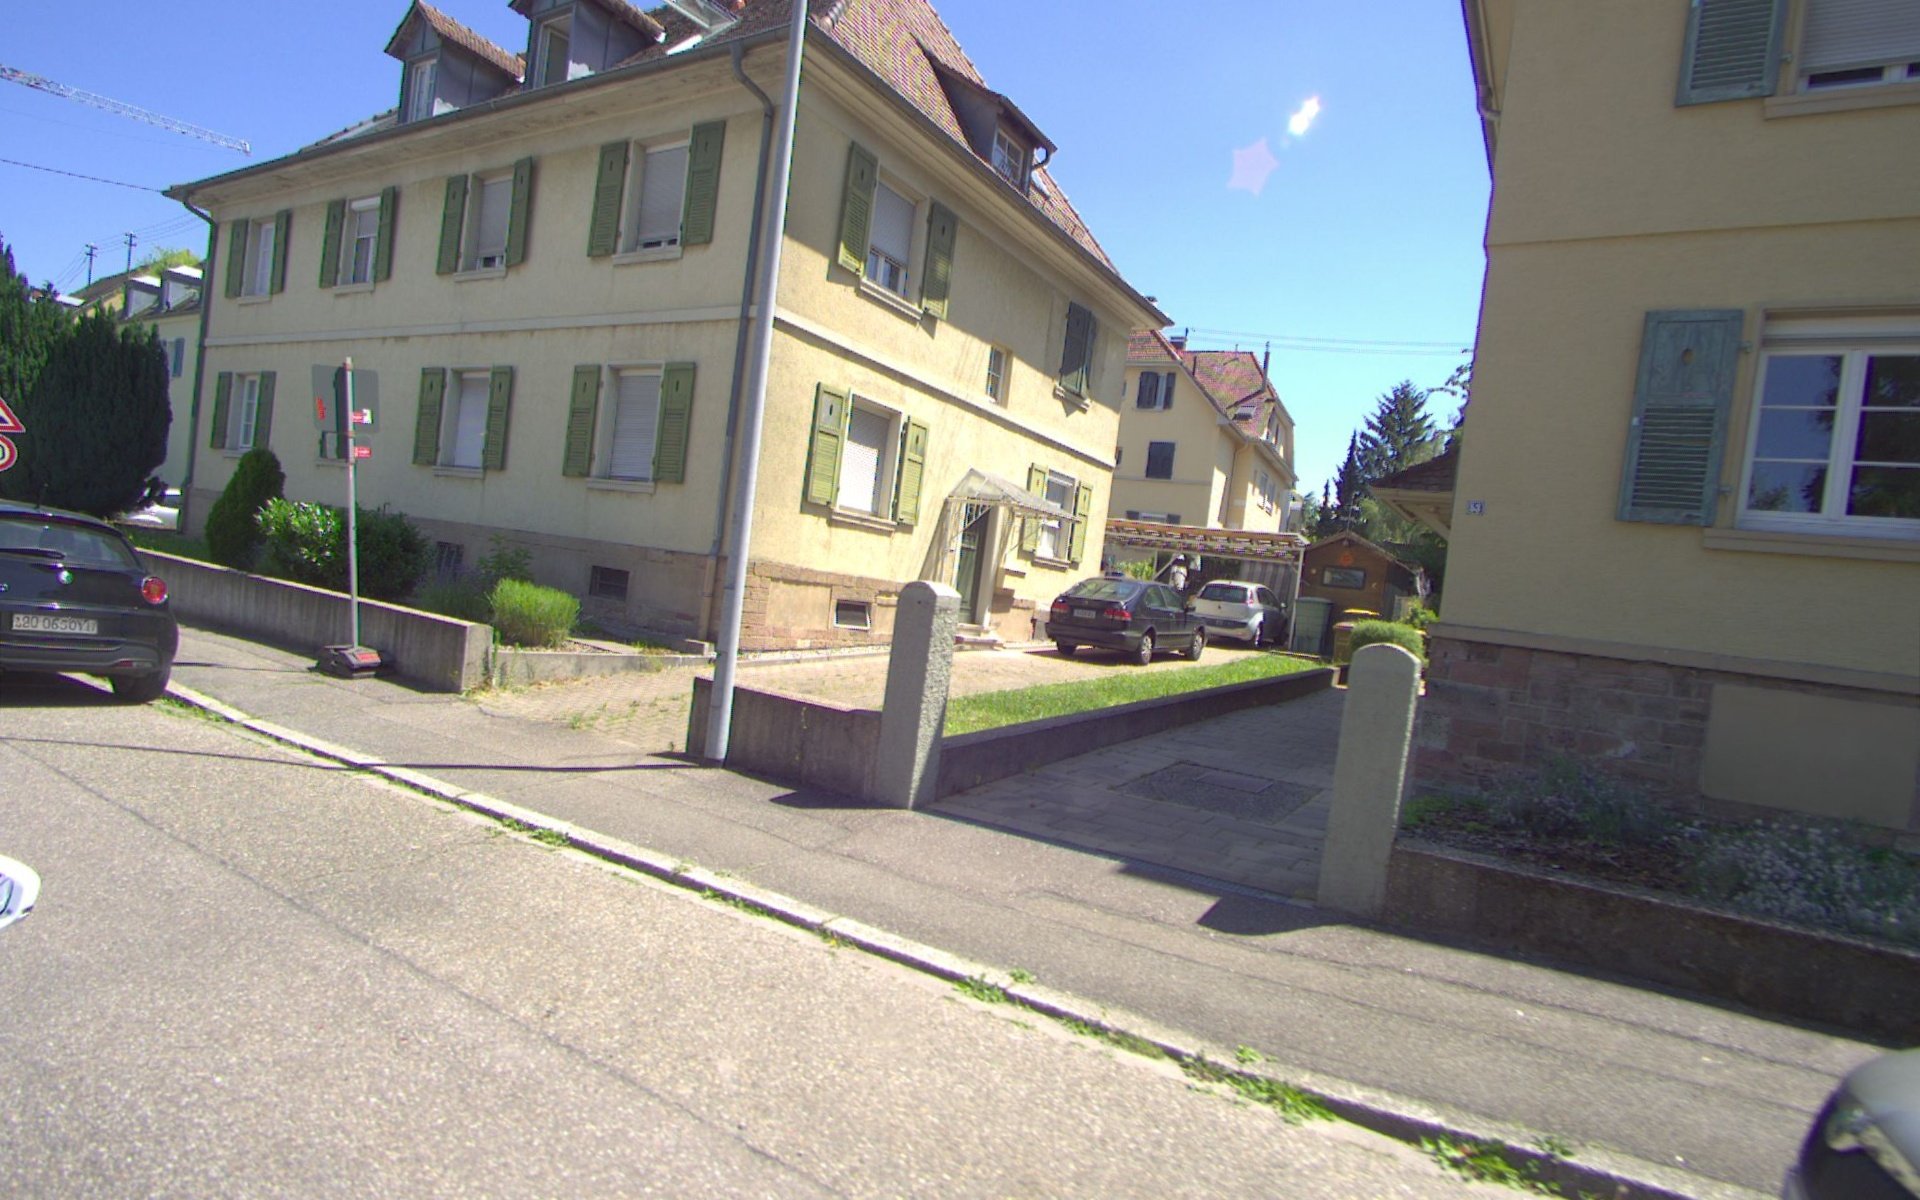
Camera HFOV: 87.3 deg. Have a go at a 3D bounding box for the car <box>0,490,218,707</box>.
[{"bbox_3d":[-8.026,-0.166,8.201,3.775,1.469,1.763,7,0,31],"label":"car"}]

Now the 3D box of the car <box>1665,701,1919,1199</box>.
[{"bbox_3d":[3.522,1.191,1.159,4.152,1.469,1.763,7,0,31],"label":"car"}]

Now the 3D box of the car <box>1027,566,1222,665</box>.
[{"bbox_3d":[3.114,0.290,18.317,1.831,1.447,4.180,7,2,33],"label":"car"}]

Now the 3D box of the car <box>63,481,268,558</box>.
[{"bbox_3d":[-21.610,-2.170,27.504,1.968,1.662,3.984,7,3,34],"label":"car"}]

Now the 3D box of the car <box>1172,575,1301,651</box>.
[{"bbox_3d":[6.764,0.285,24.285,1.830,1.512,4.181,7,3,31],"label":"car"}]
